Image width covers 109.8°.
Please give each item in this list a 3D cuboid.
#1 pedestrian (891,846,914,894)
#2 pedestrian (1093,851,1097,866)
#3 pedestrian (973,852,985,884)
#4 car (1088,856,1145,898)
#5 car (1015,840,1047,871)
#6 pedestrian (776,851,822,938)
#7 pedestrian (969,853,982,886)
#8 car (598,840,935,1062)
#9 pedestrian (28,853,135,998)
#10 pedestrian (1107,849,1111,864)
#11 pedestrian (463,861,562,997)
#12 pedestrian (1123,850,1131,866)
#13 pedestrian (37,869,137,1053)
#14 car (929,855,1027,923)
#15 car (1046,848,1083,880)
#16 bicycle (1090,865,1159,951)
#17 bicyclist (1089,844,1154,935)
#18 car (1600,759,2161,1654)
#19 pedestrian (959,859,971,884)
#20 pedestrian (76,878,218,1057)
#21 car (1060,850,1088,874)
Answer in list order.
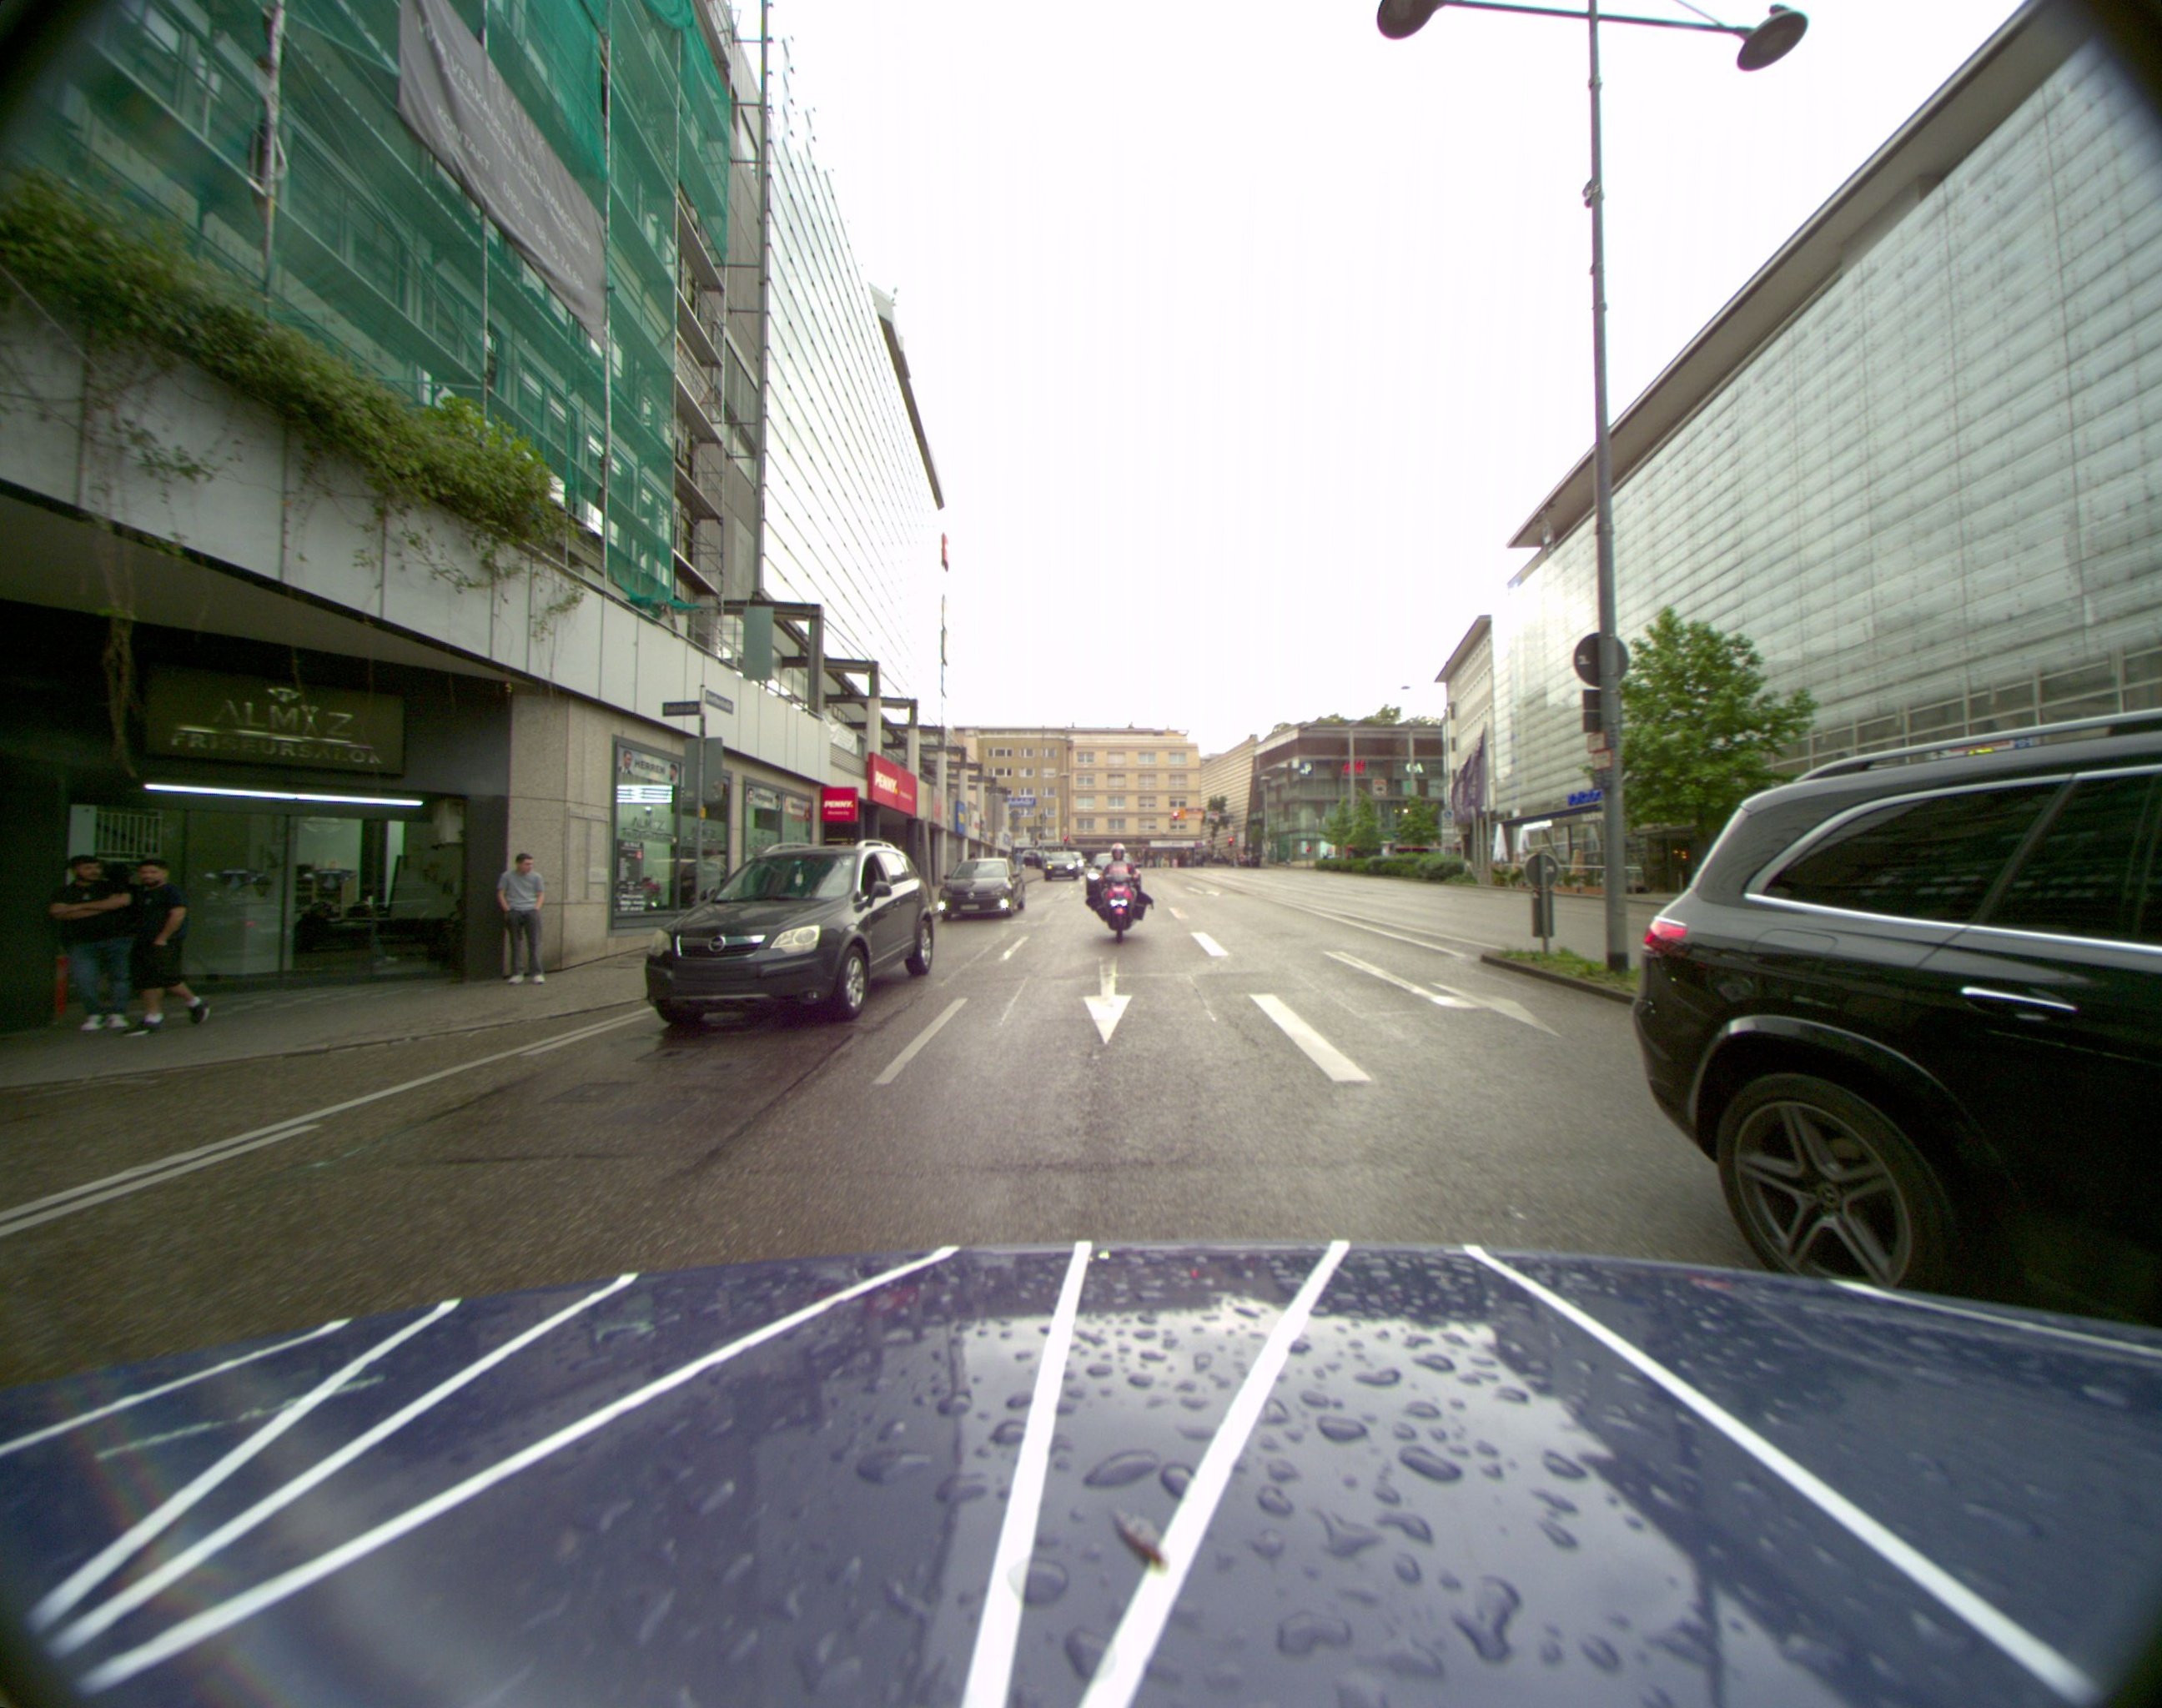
[{"bbox_3d":[-6.279,0.561,26.695,0.578,1.669,0.511,1,2,21],"label":"pedestrian"},{"bbox_3d":[1.507,0.462,80.713,0.428,1.620,0.602,0,1,4],"label":"pedestrian"},{"bbox_3d":[-4.855,0.679,36.218,0.510,1.492,0.579,0,2,-1],"label":"pedestrian"},{"bbox_3d":[1.279,0.804,28.060,1.890,1.391,4.164,-2,0,2],"label":"car"},{"bbox_3d":[-3.462,0.061,53.180,1.605,2.002,3.400,-2,1,6],"label":"car"},{"bbox_3d":[-5.371,0.751,14.504,0.677,1.618,0.579,0,2,-6],"label":"pedestrian"},{"bbox_3d":[-4.860,0.702,35.105,0.510,1.492,0.579,0,2,-1],"label":"pedestrian"},{"bbox_3d":[-2.965,0.818,8.265,1.764,1.755,4.164,-2,-1,2],"label":"car"},{"bbox_3d":[-13.155,0.890,10.028,0.771,1.805,0.745,1,1,44],"label":"pedestrian"},{"bbox_3d":[3.077,0.282,82.572,0.428,1.620,0.602,0,1,3],"label":"pedestrian"},{"bbox_3d":[-7.242,0.925,9.714,0.639,1.633,0.733,-2,2,-3],"label":"pedestrian"},{"bbox_3d":[4.962,0.437,81.838,0.627,1.764,0.687,-3,2,-21],"label":"pedestrian"},{"bbox_3d":[-9.715,1.012,7.443,0.466,1.698,0.484,-1,2,41],"label":"pedestrian"},{"bbox_3d":[-2.498,0.833,19.486,1.759,1.495,4.165,-2,-1,2],"label":"car"},{"bbox_3d":[-0.884,0.525,42.750,1.841,1.598,4.164,-2,1,2],"label":"car"},{"bbox_3d":[0.716,0.891,13.693,1.034,1.279,2.948,-2,1,0],"label":"bicycle"},{"bbox_3d":[0.703,0.605,13.509,1.063,1.534,0.825,-2,2,0],"label":"bicyclist"},{"bbox_3d":[3.160,0.718,0.720,1.916,1.859,5.072,-2,1,1],"label":"car"},{"bbox_3d":[-5.473,0.831,35.889,0.510,1.160,0.579,0,2,-1],"label":"pedestrian"},{"bbox_3d":[-8.962,1.048,7.322,0.640,1.586,0.576,-3,2,-33],"label":"pedestrian"},{"bbox_3d":[-0.470,0.555,52.478,1.675,1.520,4.165,-2,-1,2],"label":"car"}]
